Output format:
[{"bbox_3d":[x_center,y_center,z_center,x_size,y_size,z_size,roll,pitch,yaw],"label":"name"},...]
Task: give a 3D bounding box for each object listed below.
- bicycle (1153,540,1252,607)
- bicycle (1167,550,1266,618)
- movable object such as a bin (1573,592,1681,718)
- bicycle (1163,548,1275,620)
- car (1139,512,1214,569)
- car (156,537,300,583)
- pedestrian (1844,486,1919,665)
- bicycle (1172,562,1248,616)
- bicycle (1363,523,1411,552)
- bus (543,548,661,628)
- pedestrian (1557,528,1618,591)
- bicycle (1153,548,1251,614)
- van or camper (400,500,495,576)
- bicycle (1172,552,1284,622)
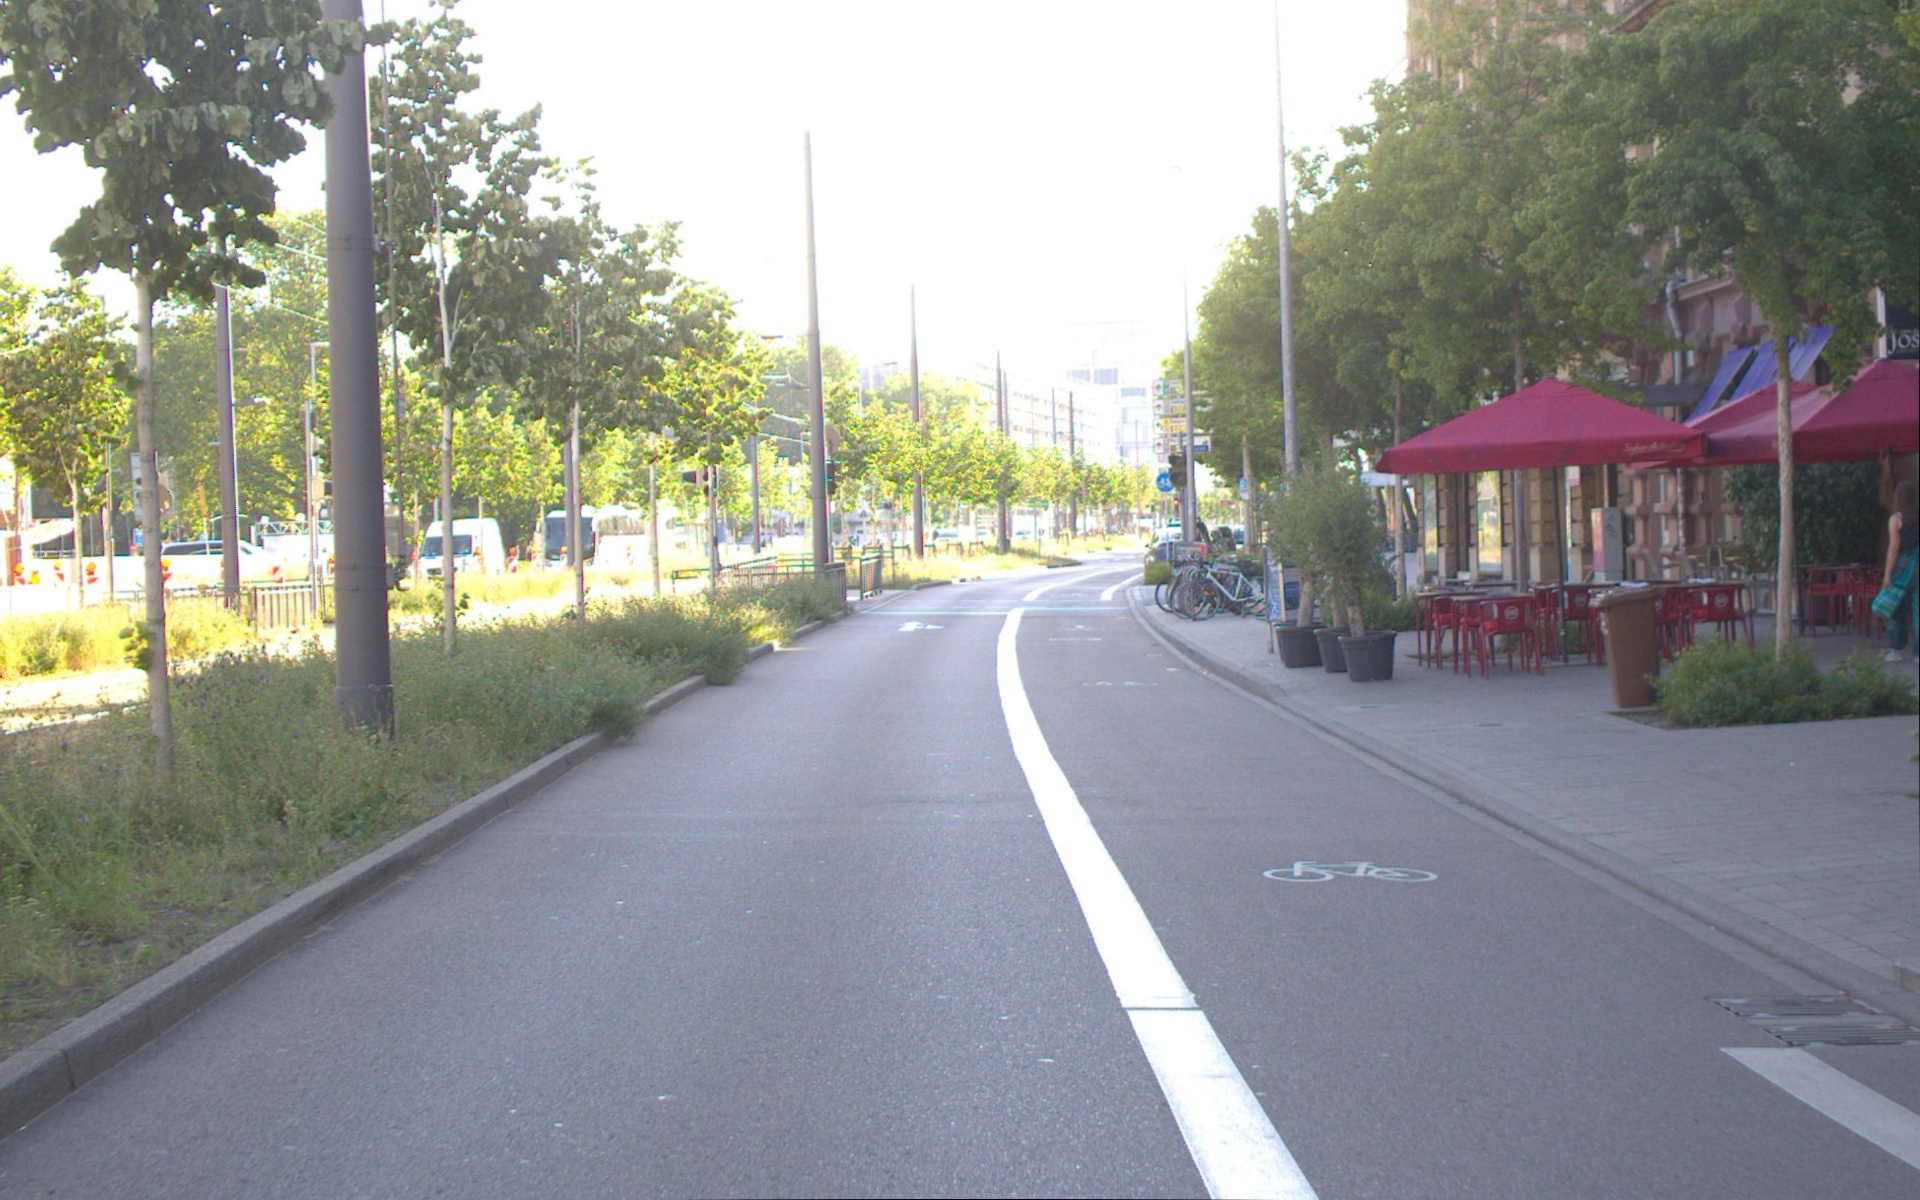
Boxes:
[{"bbox_3d":[4.505,-0.493,63.897,1.754,1.100,0.507,-4,1,6],"label":"bicycle"},{"bbox_3d":[4.677,-0.291,62.615,1.722,1.100,0.507,-4,1,6],"label":"bicycle"},{"bbox_3d":[5.217,0.425,26.875,0.676,0.921,0.560,-4,0,20],"label":"movable object such as a bin"},{"bbox_3d":[4.491,-0.279,59.521,1.844,1.100,0.566,-4,1,6],"label":"bicycle"},{"bbox_3d":[6.632,-1.835,105.686,1.931,1.593,4.699,-4,1,1],"label":"car"},{"bbox_3d":[-29.416,-1.607,138.269,5.228,1.711,2.124,-1,1,6],"label":"car"},{"bbox_3d":[8.341,-0.228,30.440,0.728,1.528,0.797,-4,1,0],"label":"pedestrian"},{"bbox_3d":[4.451,-0.197,61.115,1.275,0.874,0.507,-4,1,6],"label":"bicycle"},{"bbox_3d":[17.805,-2.601,143.346,1.899,1.089,0.392,-3,1,2],"label":"bicycle"},{"bbox_3d":[-17.287,-0.645,167.079,2.800,3.582,12.695,-1,1,7],"label":"bus"},{"bbox_3d":[9.995,-0.651,54.774,0.813,0.959,0.804,-2,1,2],"label":"pedestrian"},{"bbox_3d":[4.542,-0.353,64.489,1.754,1.100,0.507,-4,1,6],"label":"bicycle"},{"bbox_3d":[-18.420,-2.281,123.987,2.221,2.501,7.201,-4,2,0],"label":"van or camper"},{"bbox_3d":[4.510,-0.215,57.884,1.805,1.044,0.566,-4,1,6],"label":"bicycle"}]
